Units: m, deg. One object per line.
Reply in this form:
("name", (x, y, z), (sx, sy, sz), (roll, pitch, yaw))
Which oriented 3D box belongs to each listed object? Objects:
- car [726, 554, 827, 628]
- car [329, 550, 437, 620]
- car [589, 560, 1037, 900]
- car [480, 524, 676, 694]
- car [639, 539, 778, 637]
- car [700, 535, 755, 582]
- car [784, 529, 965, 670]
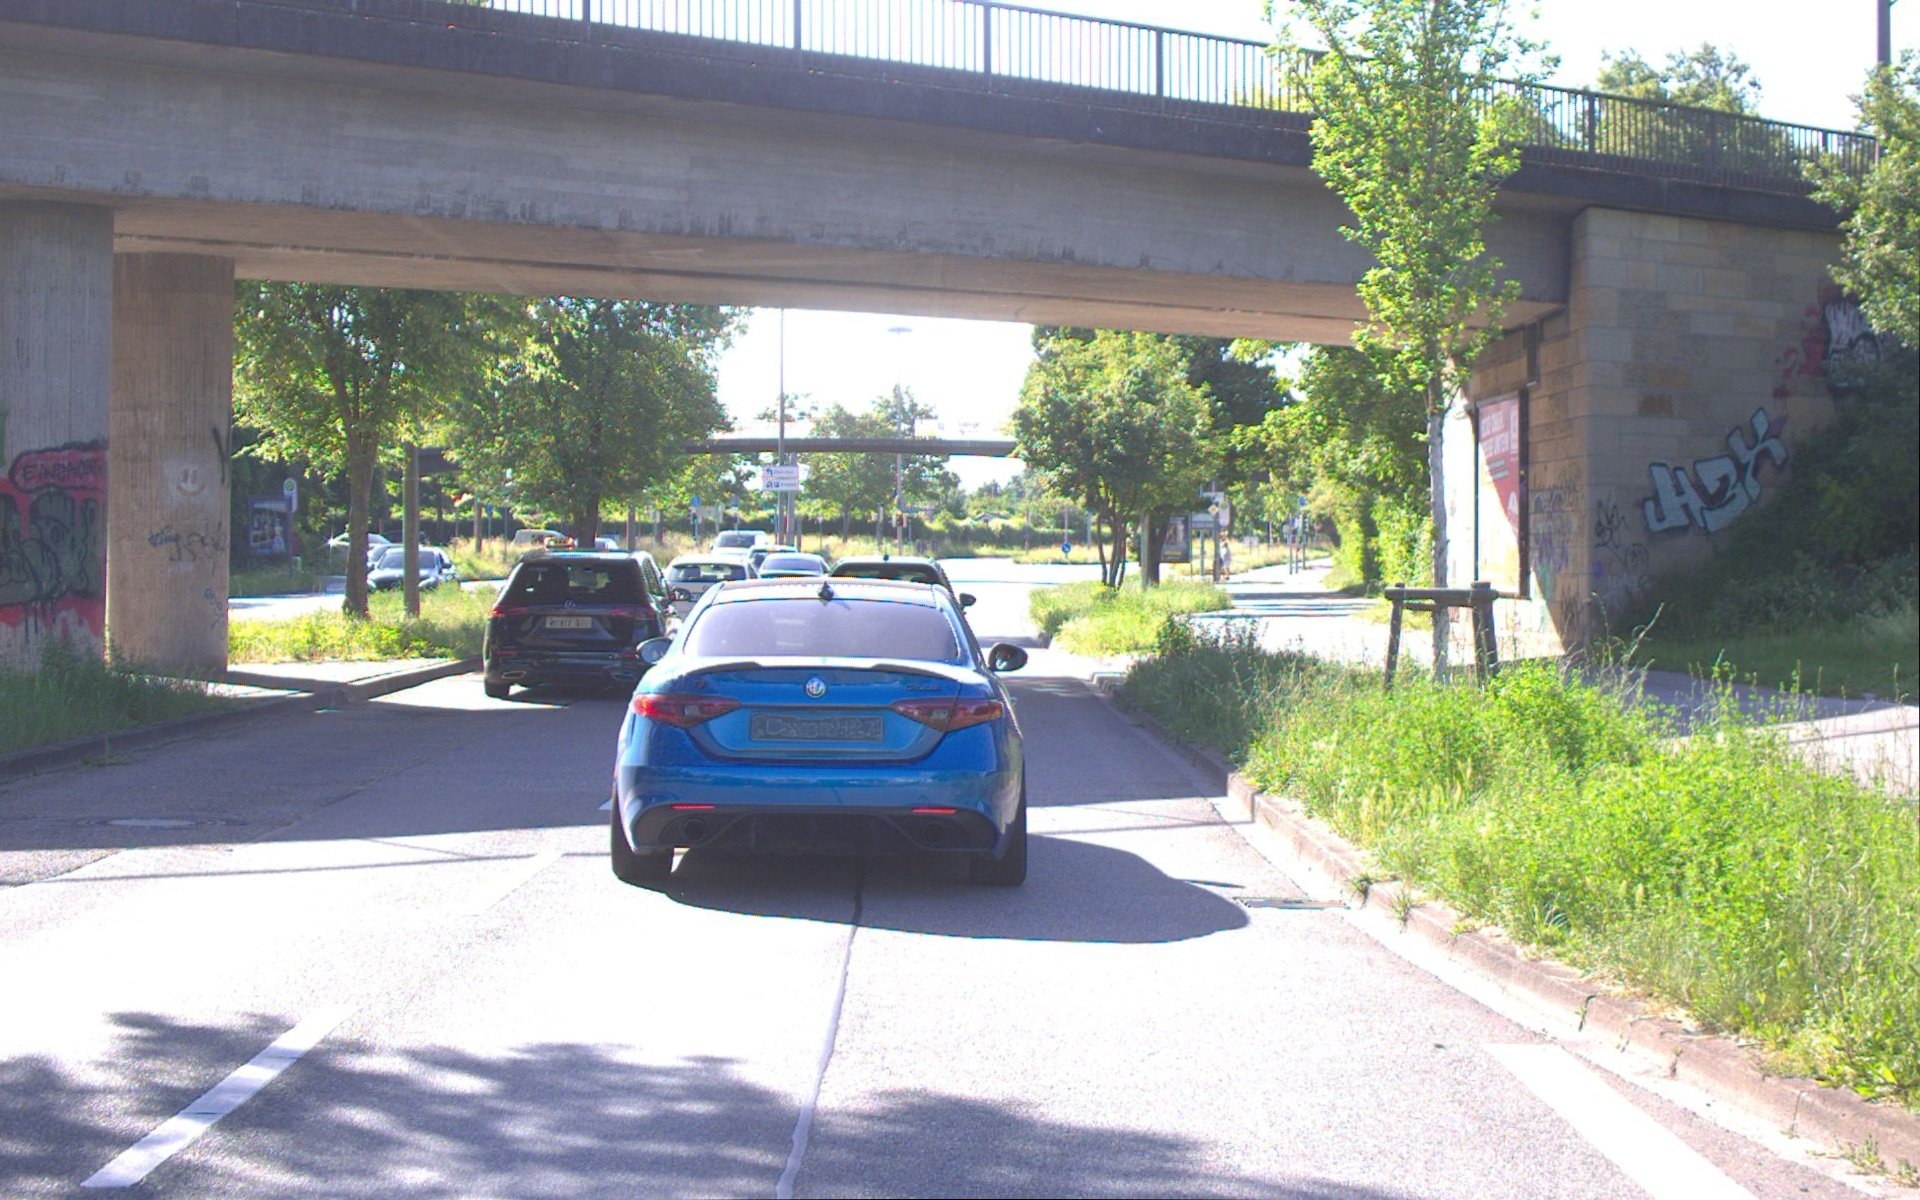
("car", (-3.831, -0.211, 72.455), (1.883, 1.449, 4.526), (2, 1, 0))
("car", (-13.552, -0.356, 80.956), (1.842, 1.537, 4.000), (-2, 1, 0))
("car", (-0.647, 0.538, 16.865), (1.883, 1.401, 4.224), (2, 1, 0))
("car", (-3.853, 0.062, 35.264), (1.707, 1.592, 4.224), (2, 1, -3))
("car", (-3.972, -0.207, 54.986), (1.883, 1.449, 4.526), (2, 1, 0))
("car", (-9.757, -1.745, 144.550), (1.993, 1.922, 5.246), (1, 1, 0))
("car", (-0.928, -0.027, 38.786), (1.883, 1.449, 4.526), (2, 1, 0))
